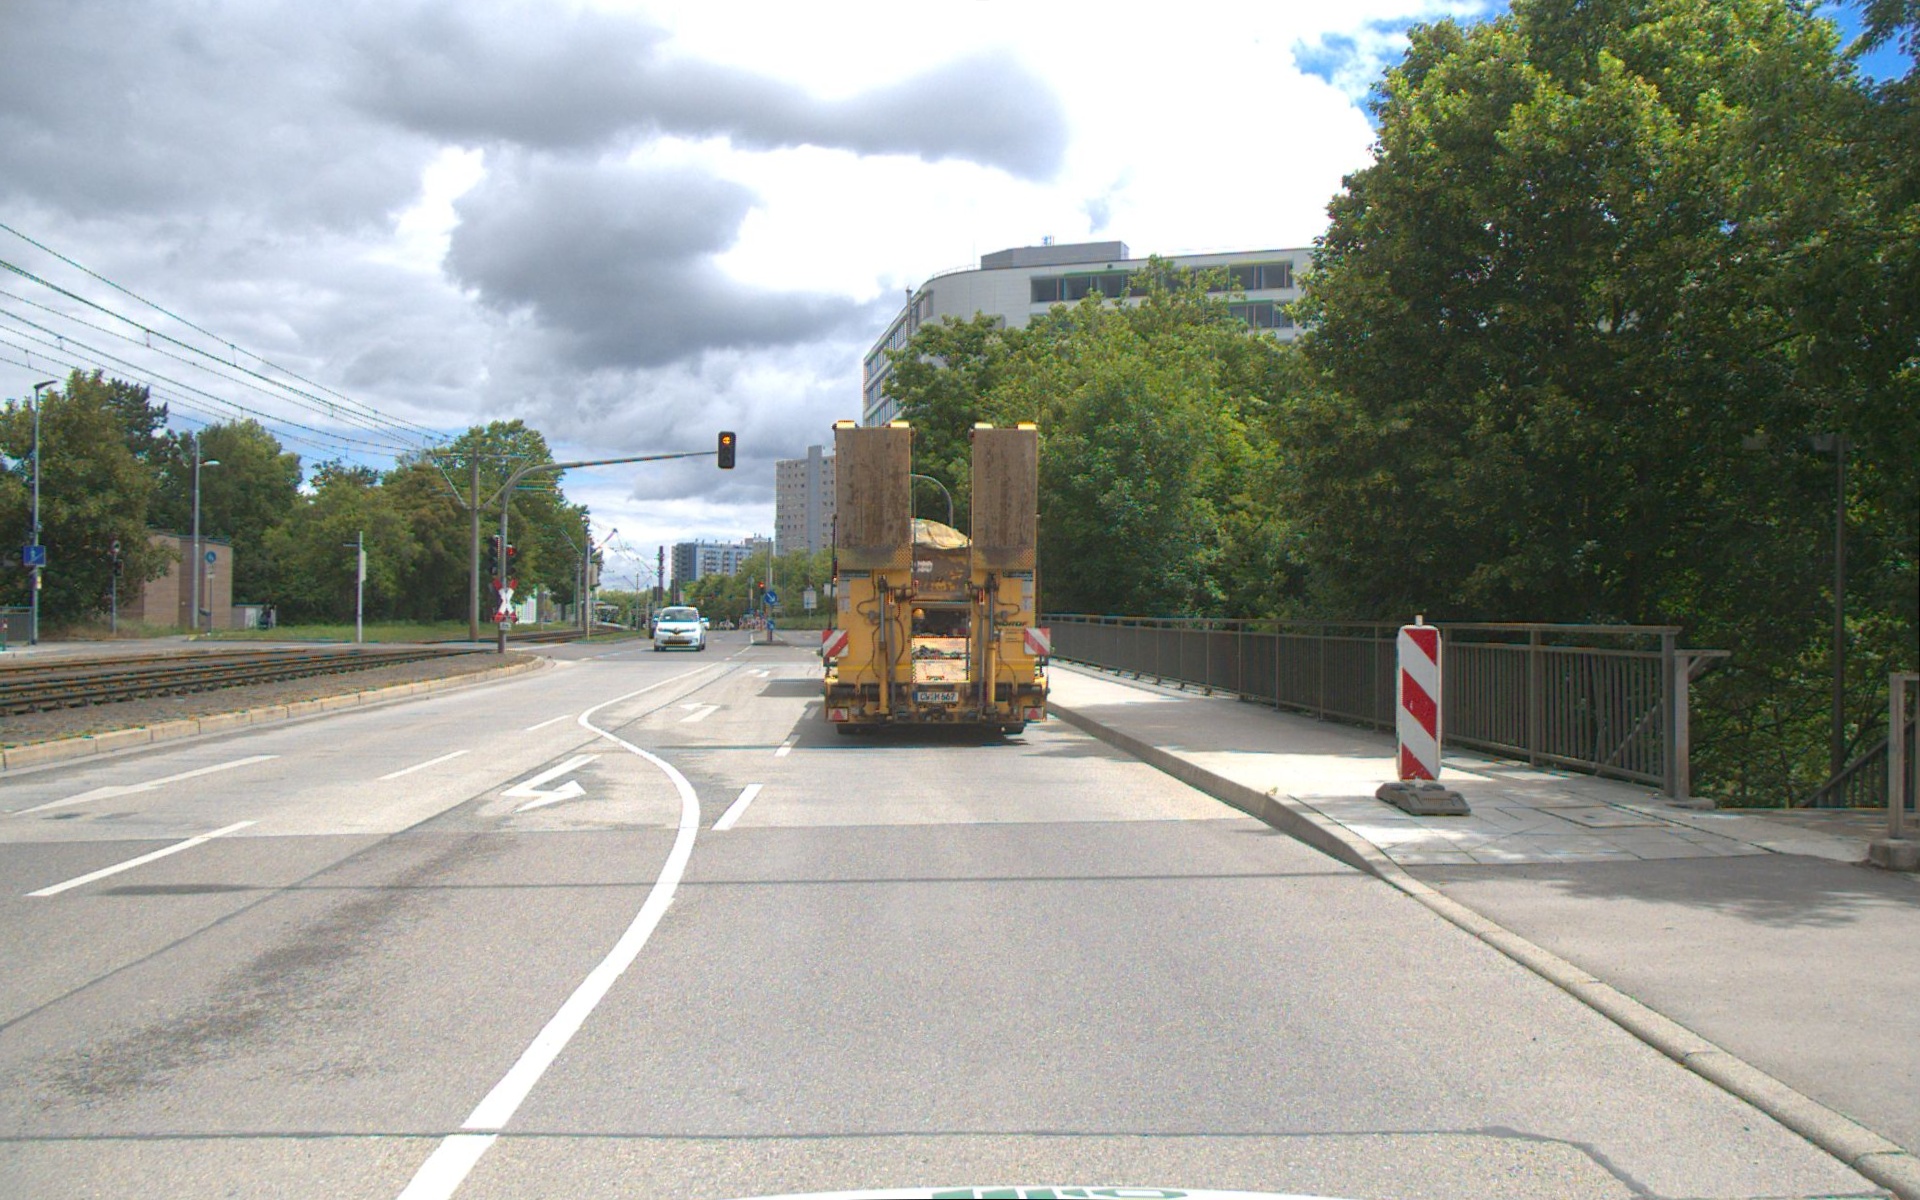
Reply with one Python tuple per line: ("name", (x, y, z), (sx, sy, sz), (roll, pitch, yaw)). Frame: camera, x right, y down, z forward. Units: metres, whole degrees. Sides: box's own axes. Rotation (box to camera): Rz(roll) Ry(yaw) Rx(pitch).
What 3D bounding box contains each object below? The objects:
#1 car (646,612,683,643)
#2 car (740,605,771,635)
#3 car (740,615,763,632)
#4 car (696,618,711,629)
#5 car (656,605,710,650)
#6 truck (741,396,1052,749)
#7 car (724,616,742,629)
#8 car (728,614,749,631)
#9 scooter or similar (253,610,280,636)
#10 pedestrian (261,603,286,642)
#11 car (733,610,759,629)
("car", (-16.043, 1.490, 89.994), (1.750, 1.597, 4.338), (0, -1, -7))
("car", (-13.965, 1.345, 112.919), (1.955, 1.959, 3.995), (2, -1, -6))
("car", (-18.350, 2.050, 145.684), (1.955, 1.445, 3.995), (2, -1, -6))
("car", (-32.506, 2.967, 209.444), (1.750, 1.294, 4.338), (0, -1, -7))
("car", (-9.848, 0.974, 58.923), (1.562, 1.553, 3.651), (0, -1, -4))
("truck", (-0.773, -0.220, 24.174), (3.249, 3.715, 12.558), (2, -1, -1))
("car", (-23.897, 2.380, 174.092), (1.750, 1.294, 4.338), (0, -1, -7))
("car", (-22.755, 2.281, 169.957), (1.955, 1.646, 3.995), (2, -1, -6))
("scooter or similar", (-33.107, 1.107, 78.963), (0.873, 1.205, 0.971), (2, -1, -4))
("pedestrian", (-33.126, 1.101, 79.838), (0.785, 1.843, 0.808), (2, -1, -2))
("car", (-17.518, 1.593, 135.736), (1.955, 1.445, 3.995), (2, -1, -6))
